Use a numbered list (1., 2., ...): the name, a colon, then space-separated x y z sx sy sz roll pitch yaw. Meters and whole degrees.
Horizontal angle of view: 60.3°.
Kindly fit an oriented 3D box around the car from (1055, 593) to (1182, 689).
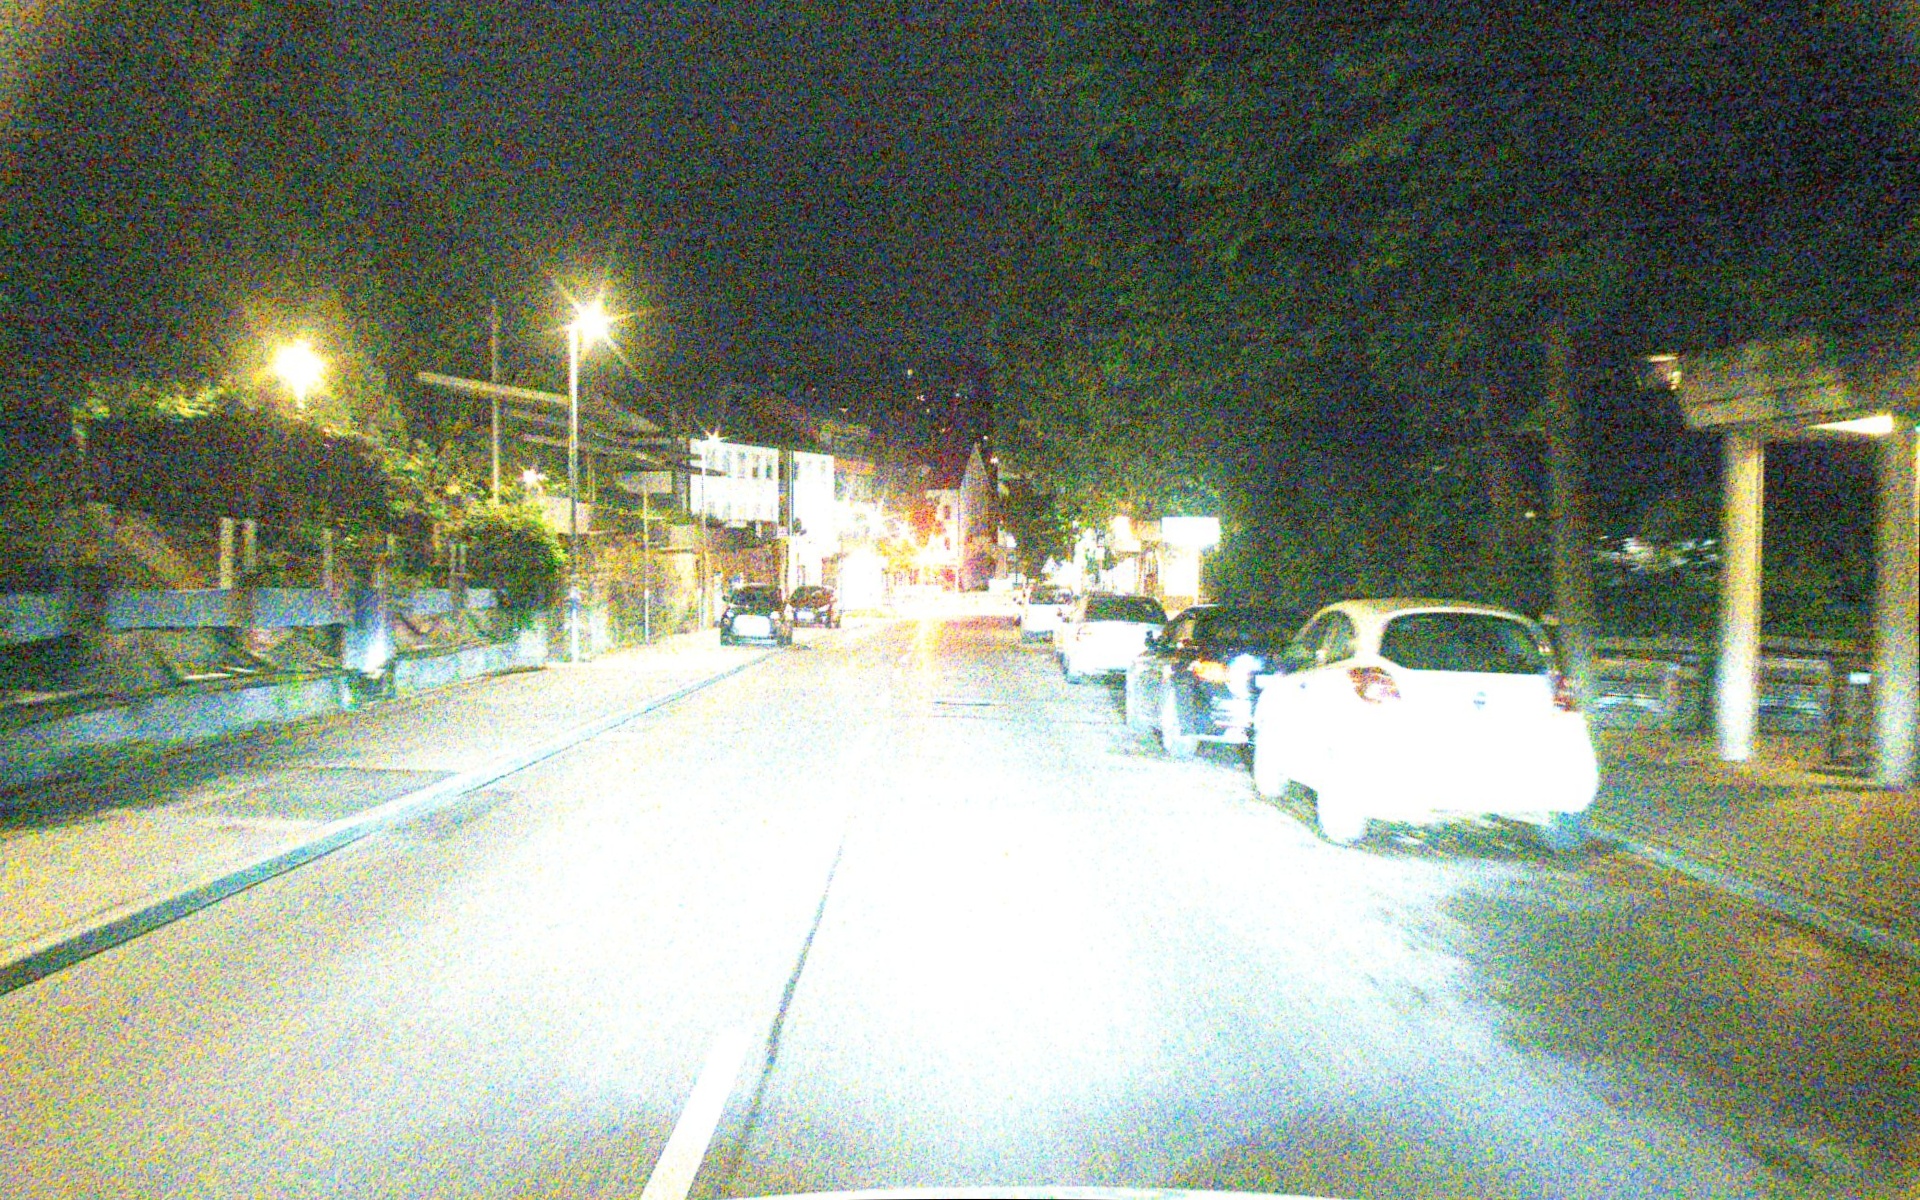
1. car: 2.585 0.627 27.877 1.642 1.472 4.610 0 0 -1

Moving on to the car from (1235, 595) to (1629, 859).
1. car: 3.089 0.743 11.605 1.605 1.492 3.775 2 0 -1

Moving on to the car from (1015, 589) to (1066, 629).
1. car: 3.099 0.322 64.431 1.819 1.467 4.595 -1 0 1

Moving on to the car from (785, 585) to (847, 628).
1. car: -5.193 0.214 60.125 1.656 1.462 4.129 2 0 3

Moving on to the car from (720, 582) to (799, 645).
1. car: -5.191 0.357 43.149 1.657 1.550 3.690 1 -1 -1

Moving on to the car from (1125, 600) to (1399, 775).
1. car: 2.804 0.750 16.330 1.726 1.440 4.438 1 0 -2

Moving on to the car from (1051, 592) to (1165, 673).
1. car: 2.896 0.598 33.152 1.744 1.462 4.288 2 0 -2

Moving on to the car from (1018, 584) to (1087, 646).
1. car: 2.649 0.402 48.215 1.750 1.670 4.380 -1 0 1
